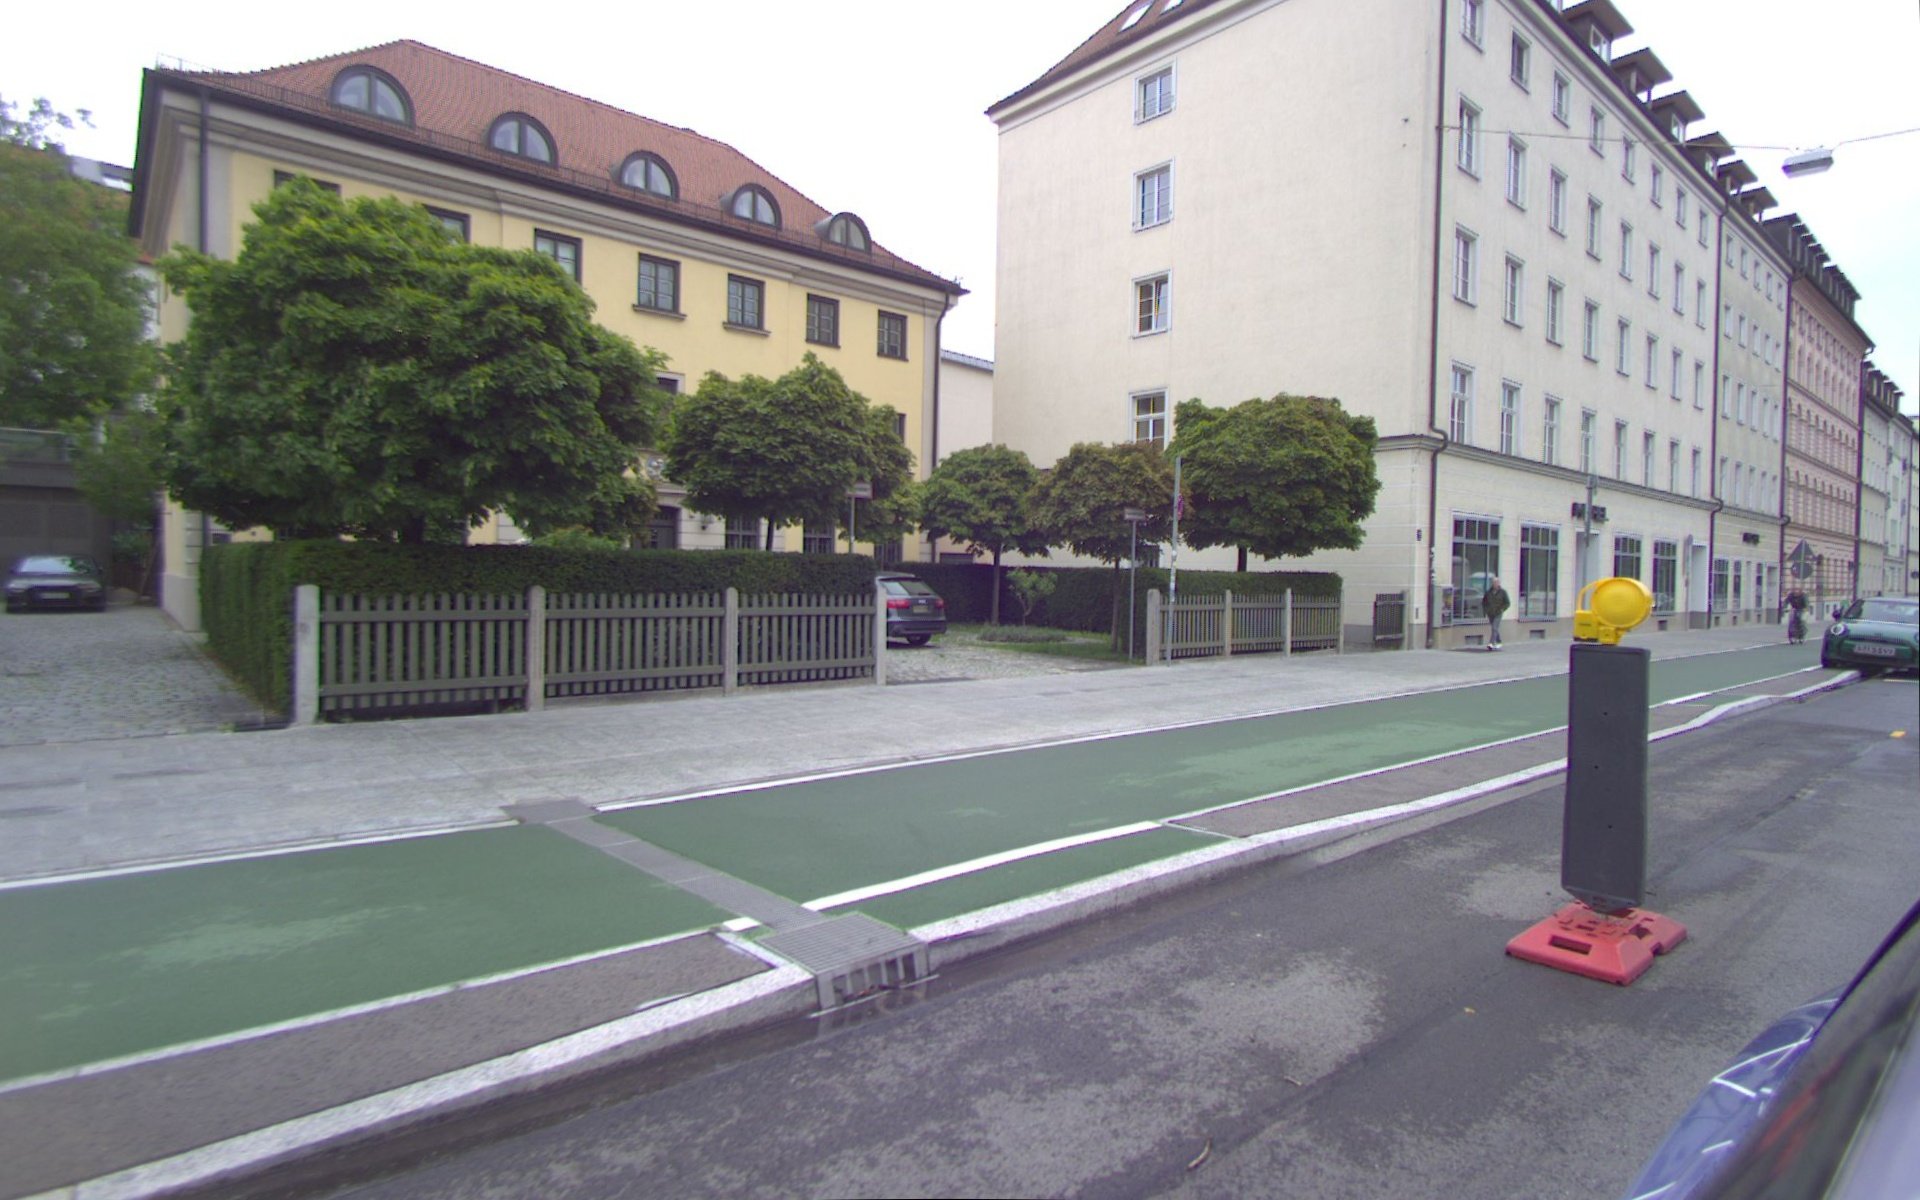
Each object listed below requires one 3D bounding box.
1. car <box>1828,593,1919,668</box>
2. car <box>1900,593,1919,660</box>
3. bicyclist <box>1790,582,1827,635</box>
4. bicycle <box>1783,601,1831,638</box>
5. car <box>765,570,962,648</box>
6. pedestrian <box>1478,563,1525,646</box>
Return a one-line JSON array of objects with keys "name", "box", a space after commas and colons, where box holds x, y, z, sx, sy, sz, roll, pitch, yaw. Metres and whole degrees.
[{"name": "car", "box": [18.558, 0.542, 19.879, 3.930, 1.337, 1.738, 0, 1, -41]}, {"name": "car", "box": [22.697, 0.579, 22.859, 3.930, 1.451, 1.738, 0, 1, -41]}, {"name": "bicyclist", "box": [25.507, 0.239, 30.430, 0.843, 1.572, 0.723, 0, 0, -41]}, {"name": "bicycle", "box": [25.421, 0.574, 30.360, 2.487, 1.045, 0.750, 0, 0, -41]}, {"name": "car", "box": [-2.087, 0.109, 20.849, 1.824, 1.435, 4.299, 0, 1, -43]}, {"name": "pedestrian", "box": [12.736, 0.091, 23.817, 0.811, 1.897, 0.654, 0, 2, -41]}]
